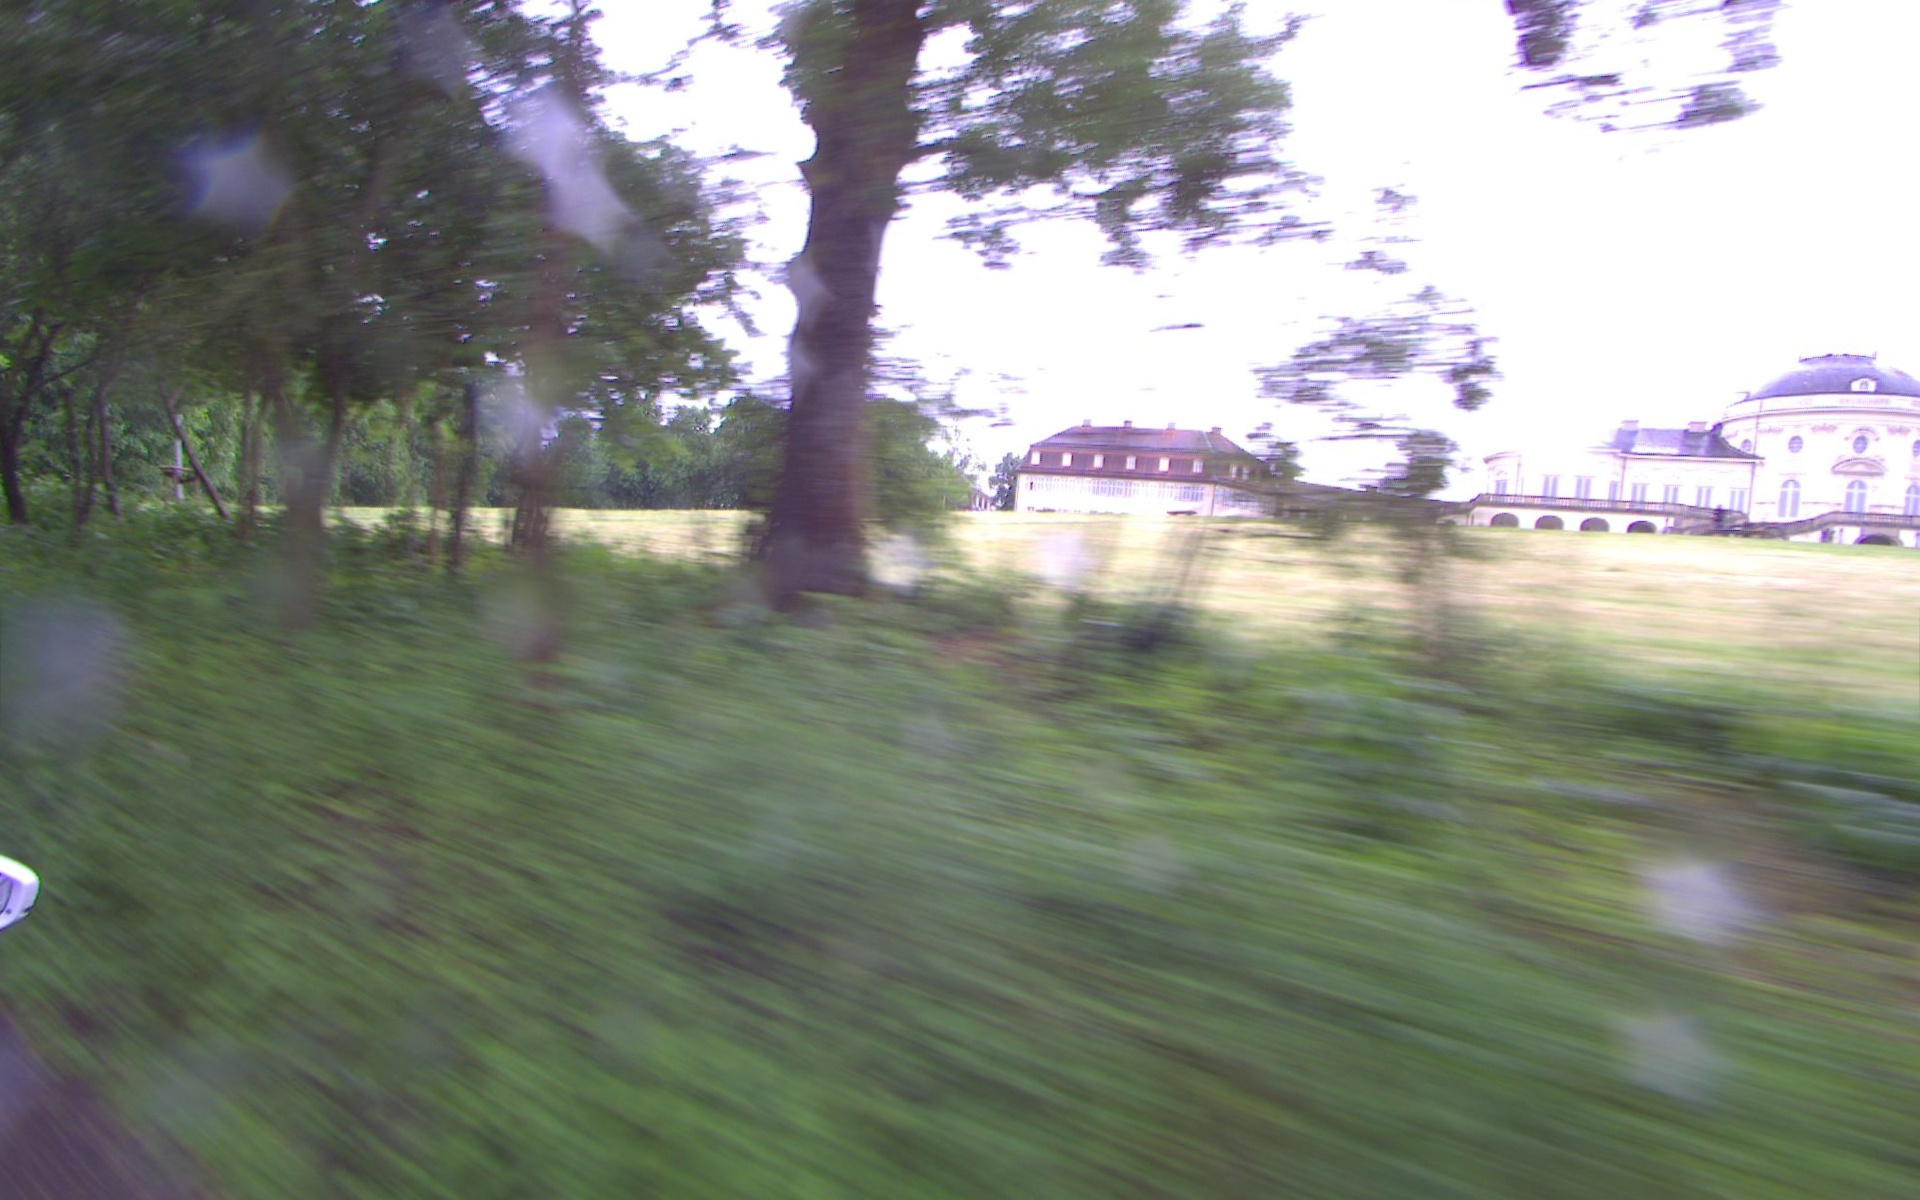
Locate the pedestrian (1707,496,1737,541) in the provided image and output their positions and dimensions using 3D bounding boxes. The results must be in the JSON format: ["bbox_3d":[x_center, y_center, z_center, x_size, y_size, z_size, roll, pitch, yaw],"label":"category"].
[{"bbox_3d":[32.522,-3.477,42.934,0.791,1.759,0.924,9,3,40],"label":"pedestrian"}]
